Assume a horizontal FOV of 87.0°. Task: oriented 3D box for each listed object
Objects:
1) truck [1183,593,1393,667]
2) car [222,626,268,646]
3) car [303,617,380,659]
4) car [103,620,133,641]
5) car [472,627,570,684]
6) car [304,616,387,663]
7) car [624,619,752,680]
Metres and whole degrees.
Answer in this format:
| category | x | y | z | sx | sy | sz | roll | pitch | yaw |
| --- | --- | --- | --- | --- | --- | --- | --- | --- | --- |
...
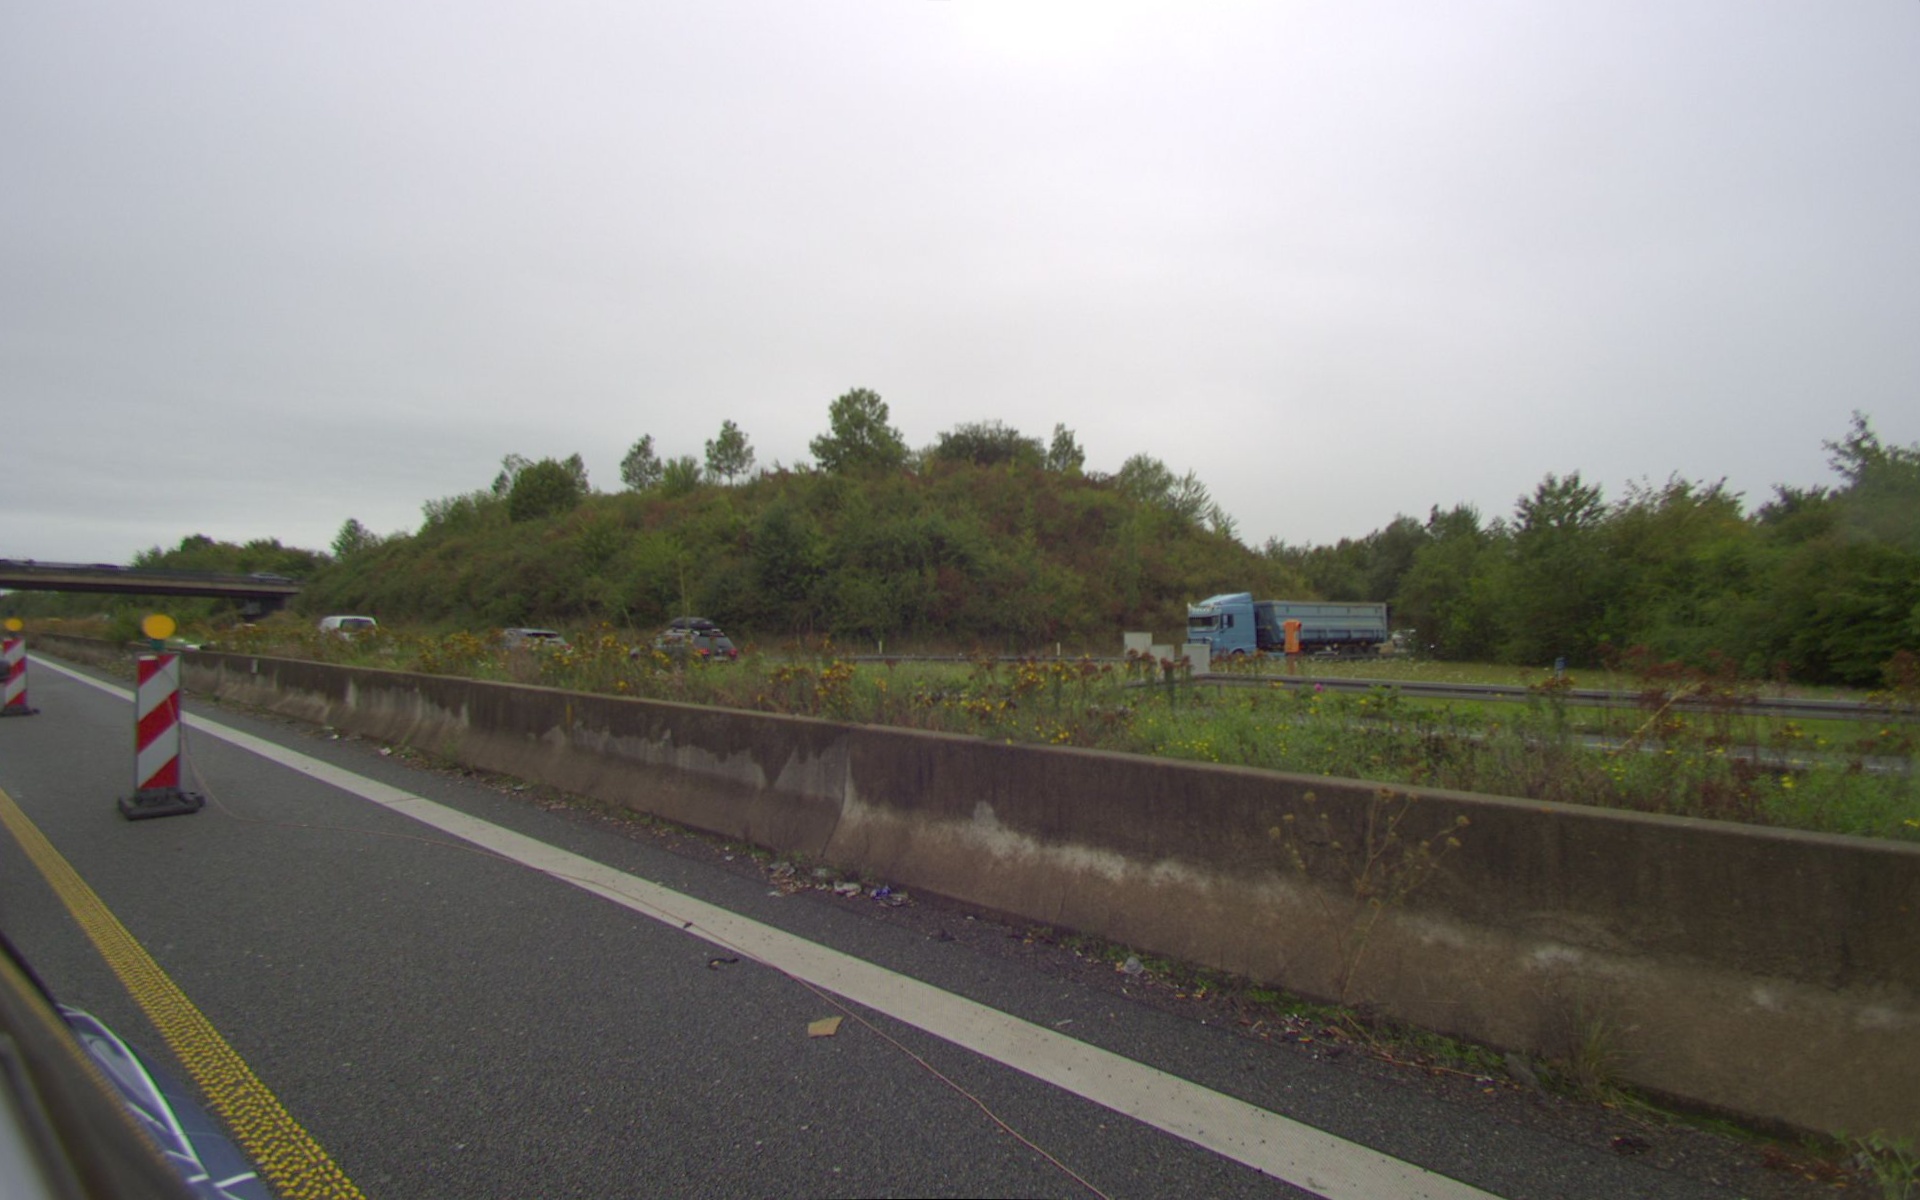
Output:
| category | x | y | z | sx | sy | sz | roll | pitch | yaw |
| --- | --- | --- | --- | --- | --- | --- | --- | --- | --- |
| truck | 18.222 | 1.716 | 55.295 | 14.338 | 3.647 | 2.908 | 2 | -3 | -35 |
| car | -54.133 | 2.738 | 76.596 | 4.108 | 1.491 | 1.972 | -2 | -3 | 43 |
| car | -26.167 | 1.600 | 42.776 | 4.001 | 1.662 | 1.847 | -2 | -3 | 44 |
| car | -101.195 | 3.733 | 121.629 | 5.885 | 2.459 | 2.214 | -2 | -3 | 45 |
| car | -13.414 | 1.651 | 30.868 | 3.662 | 1.543 | 1.436 | 0 | 1 | 44 |
| car | -26.052 | 1.638 | 42.842 | 4.000 | 1.815 | 1.972 | 0 | 0 | 43 |
| car | -8.750 | 1.554 | 32.420 | 4.227 | 1.803 | 1.972 | -2 | -3 | 41 |
